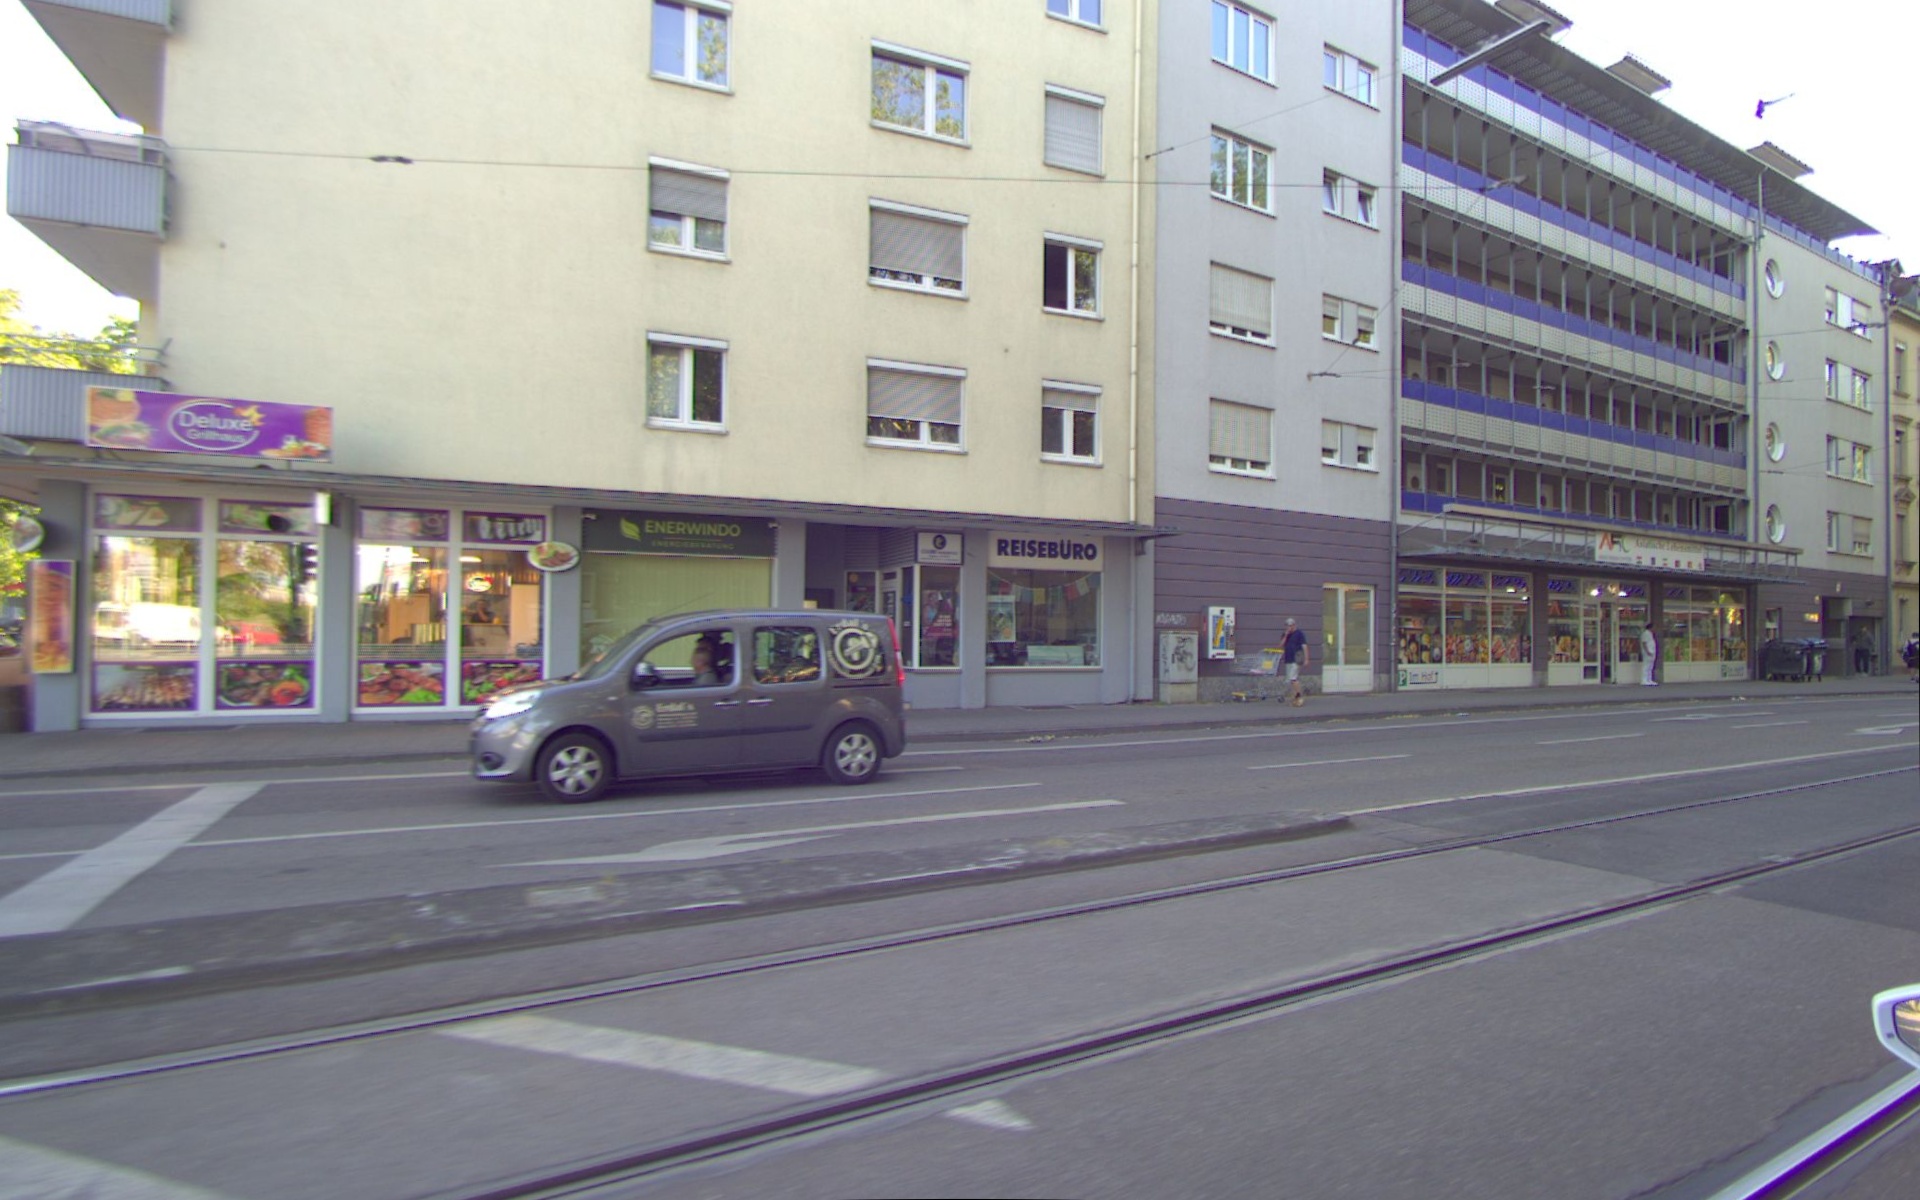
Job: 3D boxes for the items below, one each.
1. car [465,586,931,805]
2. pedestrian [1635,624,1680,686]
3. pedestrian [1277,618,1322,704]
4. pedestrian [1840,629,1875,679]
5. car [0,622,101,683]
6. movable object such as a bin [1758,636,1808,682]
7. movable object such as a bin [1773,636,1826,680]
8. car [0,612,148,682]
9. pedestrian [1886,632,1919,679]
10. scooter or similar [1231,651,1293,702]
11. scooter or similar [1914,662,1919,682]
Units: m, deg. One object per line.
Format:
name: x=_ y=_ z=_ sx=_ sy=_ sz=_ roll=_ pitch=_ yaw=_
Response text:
car: x=-2.634 y=0.865 z=10.251 sx=4.306 sy=1.830 sz=1.902 roll=1 pitch=-2 yaw=-27
pedestrian: x=20.101 y=1.590 z=28.946 sx=1.016 sy=1.683 sz=1.223 roll=-1 pitch=-6 yaw=38
pedestrian: x=6.719 y=1.193 z=19.888 sx=0.656 sy=1.670 sz=0.622 roll=-1 pitch=-2 yaw=44
pedestrian: x=34.491 y=2.073 z=38.618 sx=0.879 sy=1.888 sz=0.787 roll=0 pitch=-2 yaw=32
car: x=-26.230 y=1.392 z=26.385 sx=5.038 sy=1.577 sz=2.348 roll=2 pitch=-4 yaw=-25
movable object such as a bin: x=27.028 y=1.922 z=32.980 sx=1.133 sy=1.447 sz=1.006 roll=2 pitch=-2 yaw=-35
movable object such as a bin: x=28.219 y=1.932 z=33.759 sx=1.242 sy=1.447 sz=1.008 roll=1 pitch=-2 yaw=-30
car: x=-27.180 y=1.365 z=28.783 sx=5.563 sy=1.949 sz=2.348 roll=2 pitch=-4 yaw=-25
pedestrian: x=33.389 y=1.946 z=35.372 sx=1.022 sy=1.646 sz=0.888 roll=1 pitch=-2 yaw=-30
scooter or similar: x=6.121 y=1.533 z=20.322 sx=1.418 sy=0.966 sz=0.463 roll=2 pitch=-2 yaw=-37
scooter or similar: x=33.590 y=2.495 z=34.773 sx=0.757 sy=0.657 sz=0.621 roll=2 pitch=-2 yaw=-30
